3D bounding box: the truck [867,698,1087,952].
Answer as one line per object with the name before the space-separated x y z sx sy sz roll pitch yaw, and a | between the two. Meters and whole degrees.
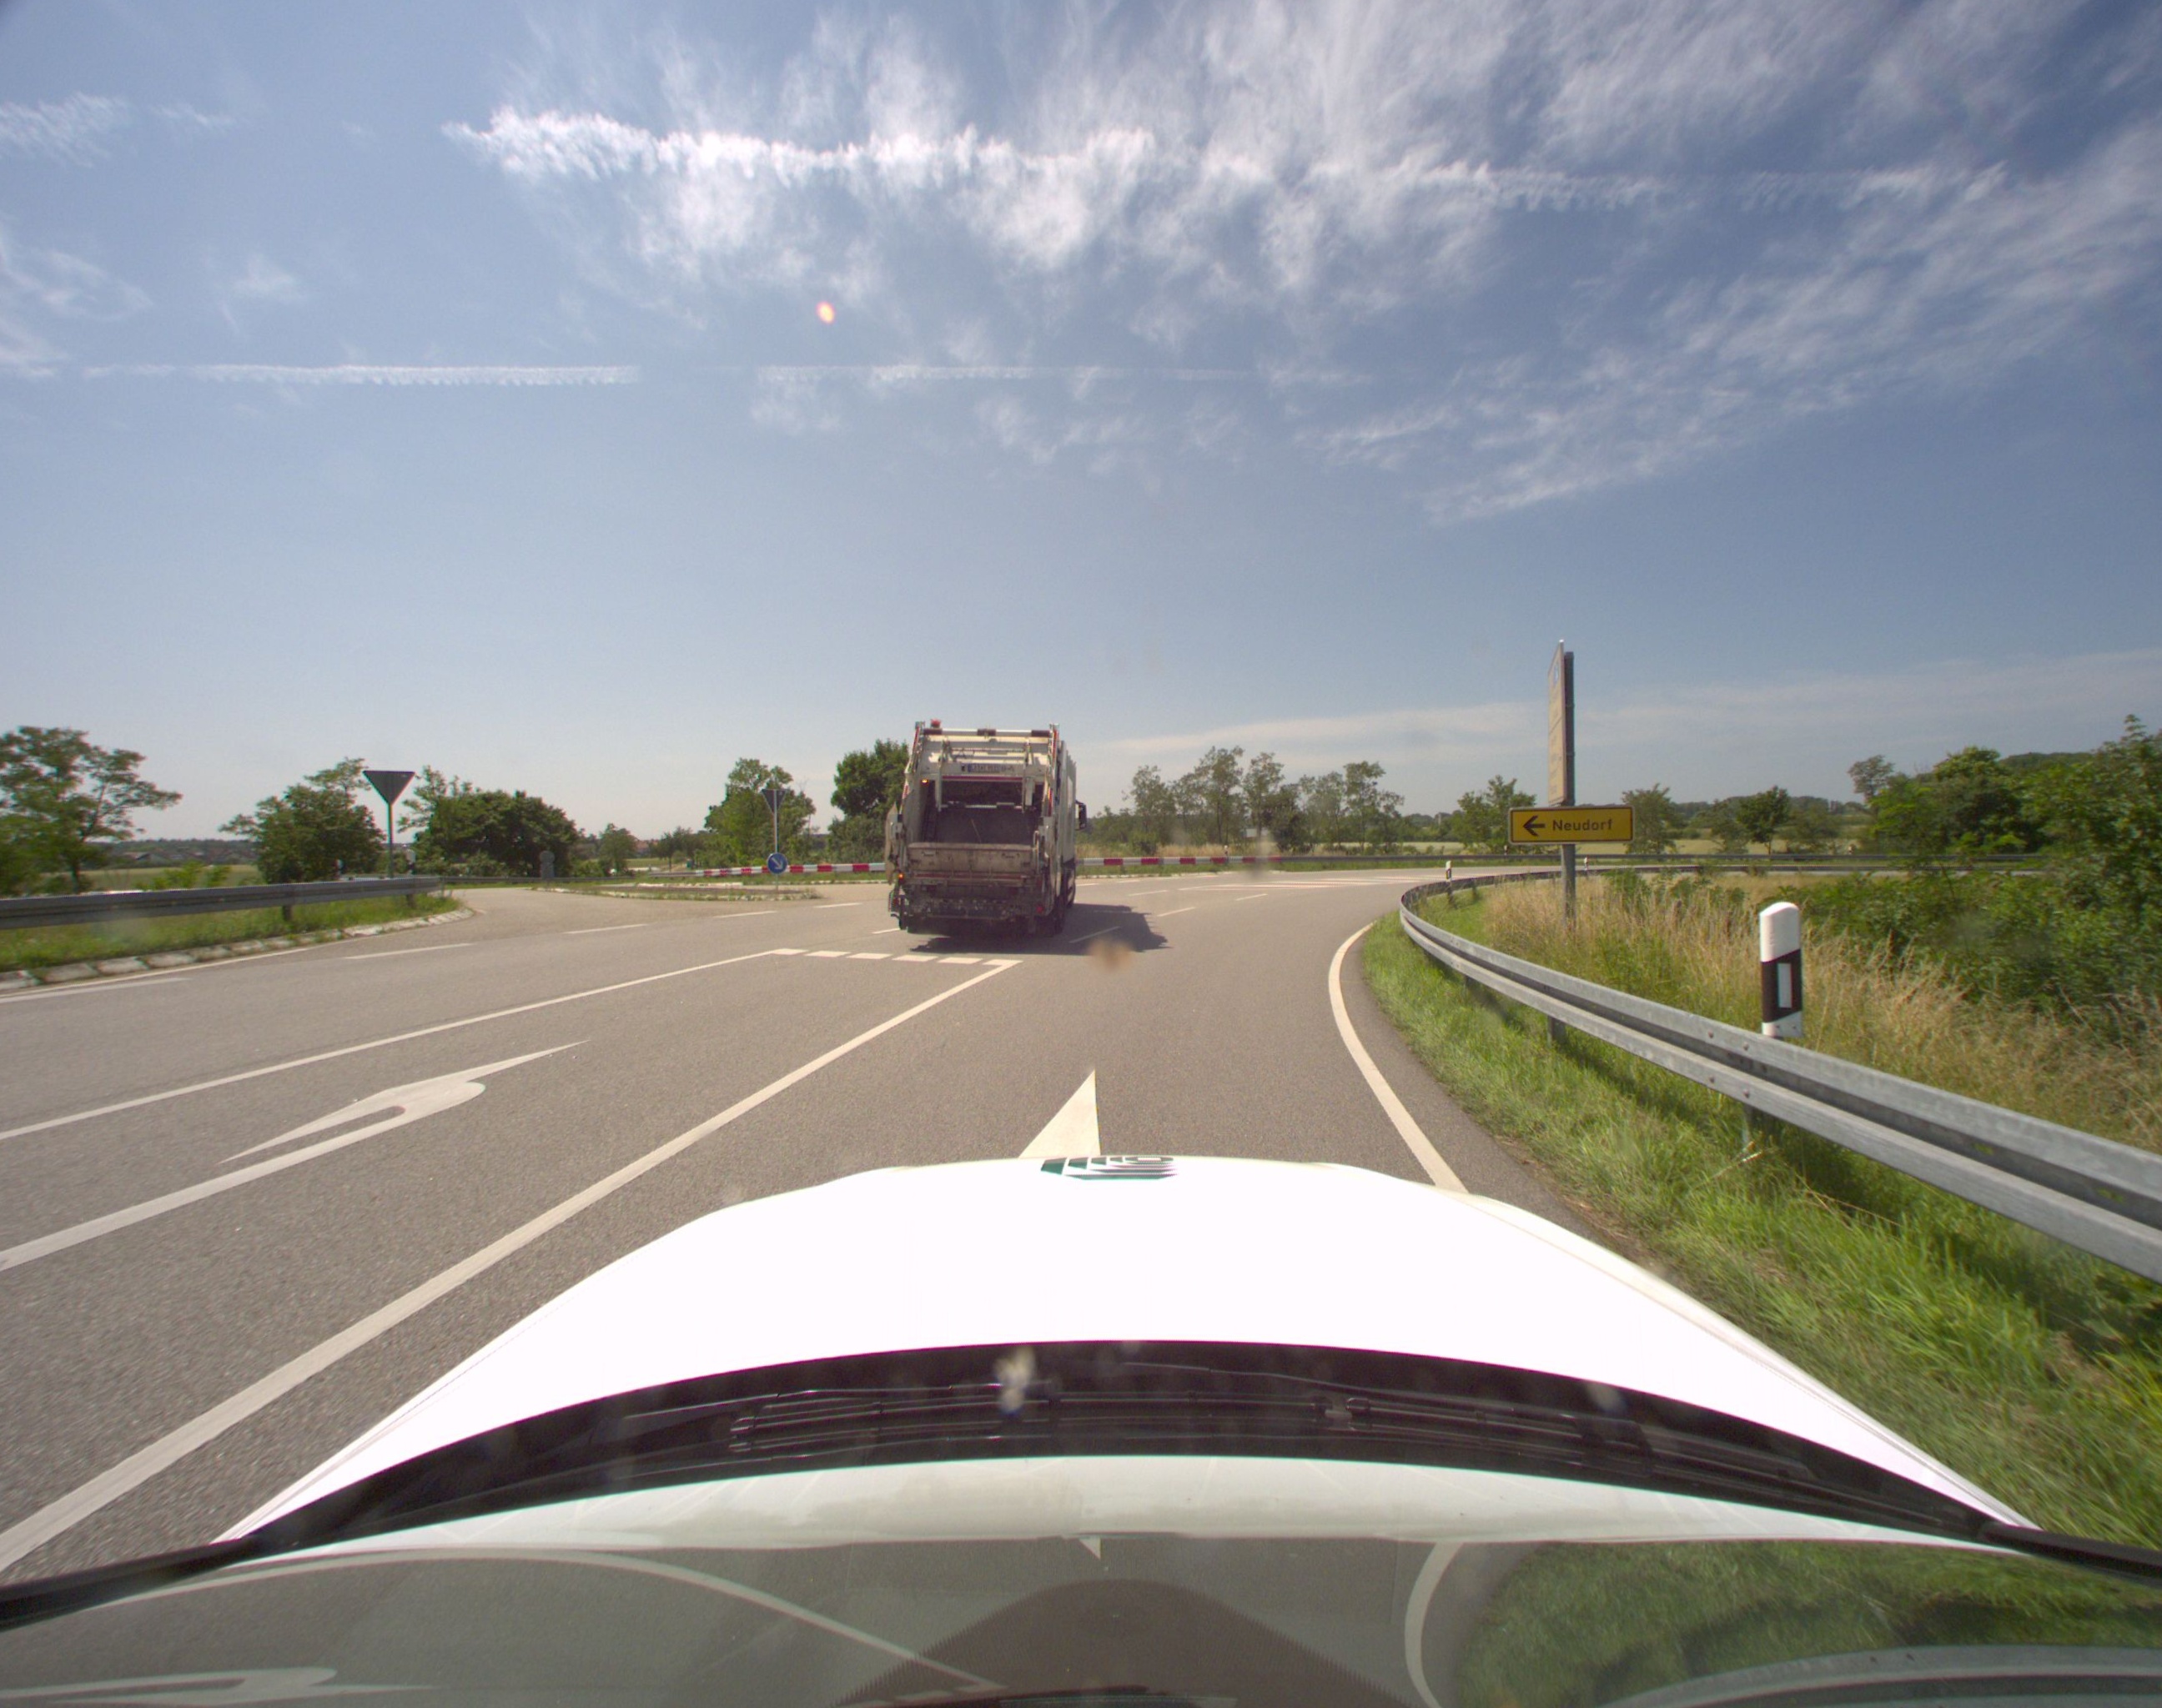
truck | -1.482 -0.514 16.866 2.802 3.669 9.955 1 1 3
